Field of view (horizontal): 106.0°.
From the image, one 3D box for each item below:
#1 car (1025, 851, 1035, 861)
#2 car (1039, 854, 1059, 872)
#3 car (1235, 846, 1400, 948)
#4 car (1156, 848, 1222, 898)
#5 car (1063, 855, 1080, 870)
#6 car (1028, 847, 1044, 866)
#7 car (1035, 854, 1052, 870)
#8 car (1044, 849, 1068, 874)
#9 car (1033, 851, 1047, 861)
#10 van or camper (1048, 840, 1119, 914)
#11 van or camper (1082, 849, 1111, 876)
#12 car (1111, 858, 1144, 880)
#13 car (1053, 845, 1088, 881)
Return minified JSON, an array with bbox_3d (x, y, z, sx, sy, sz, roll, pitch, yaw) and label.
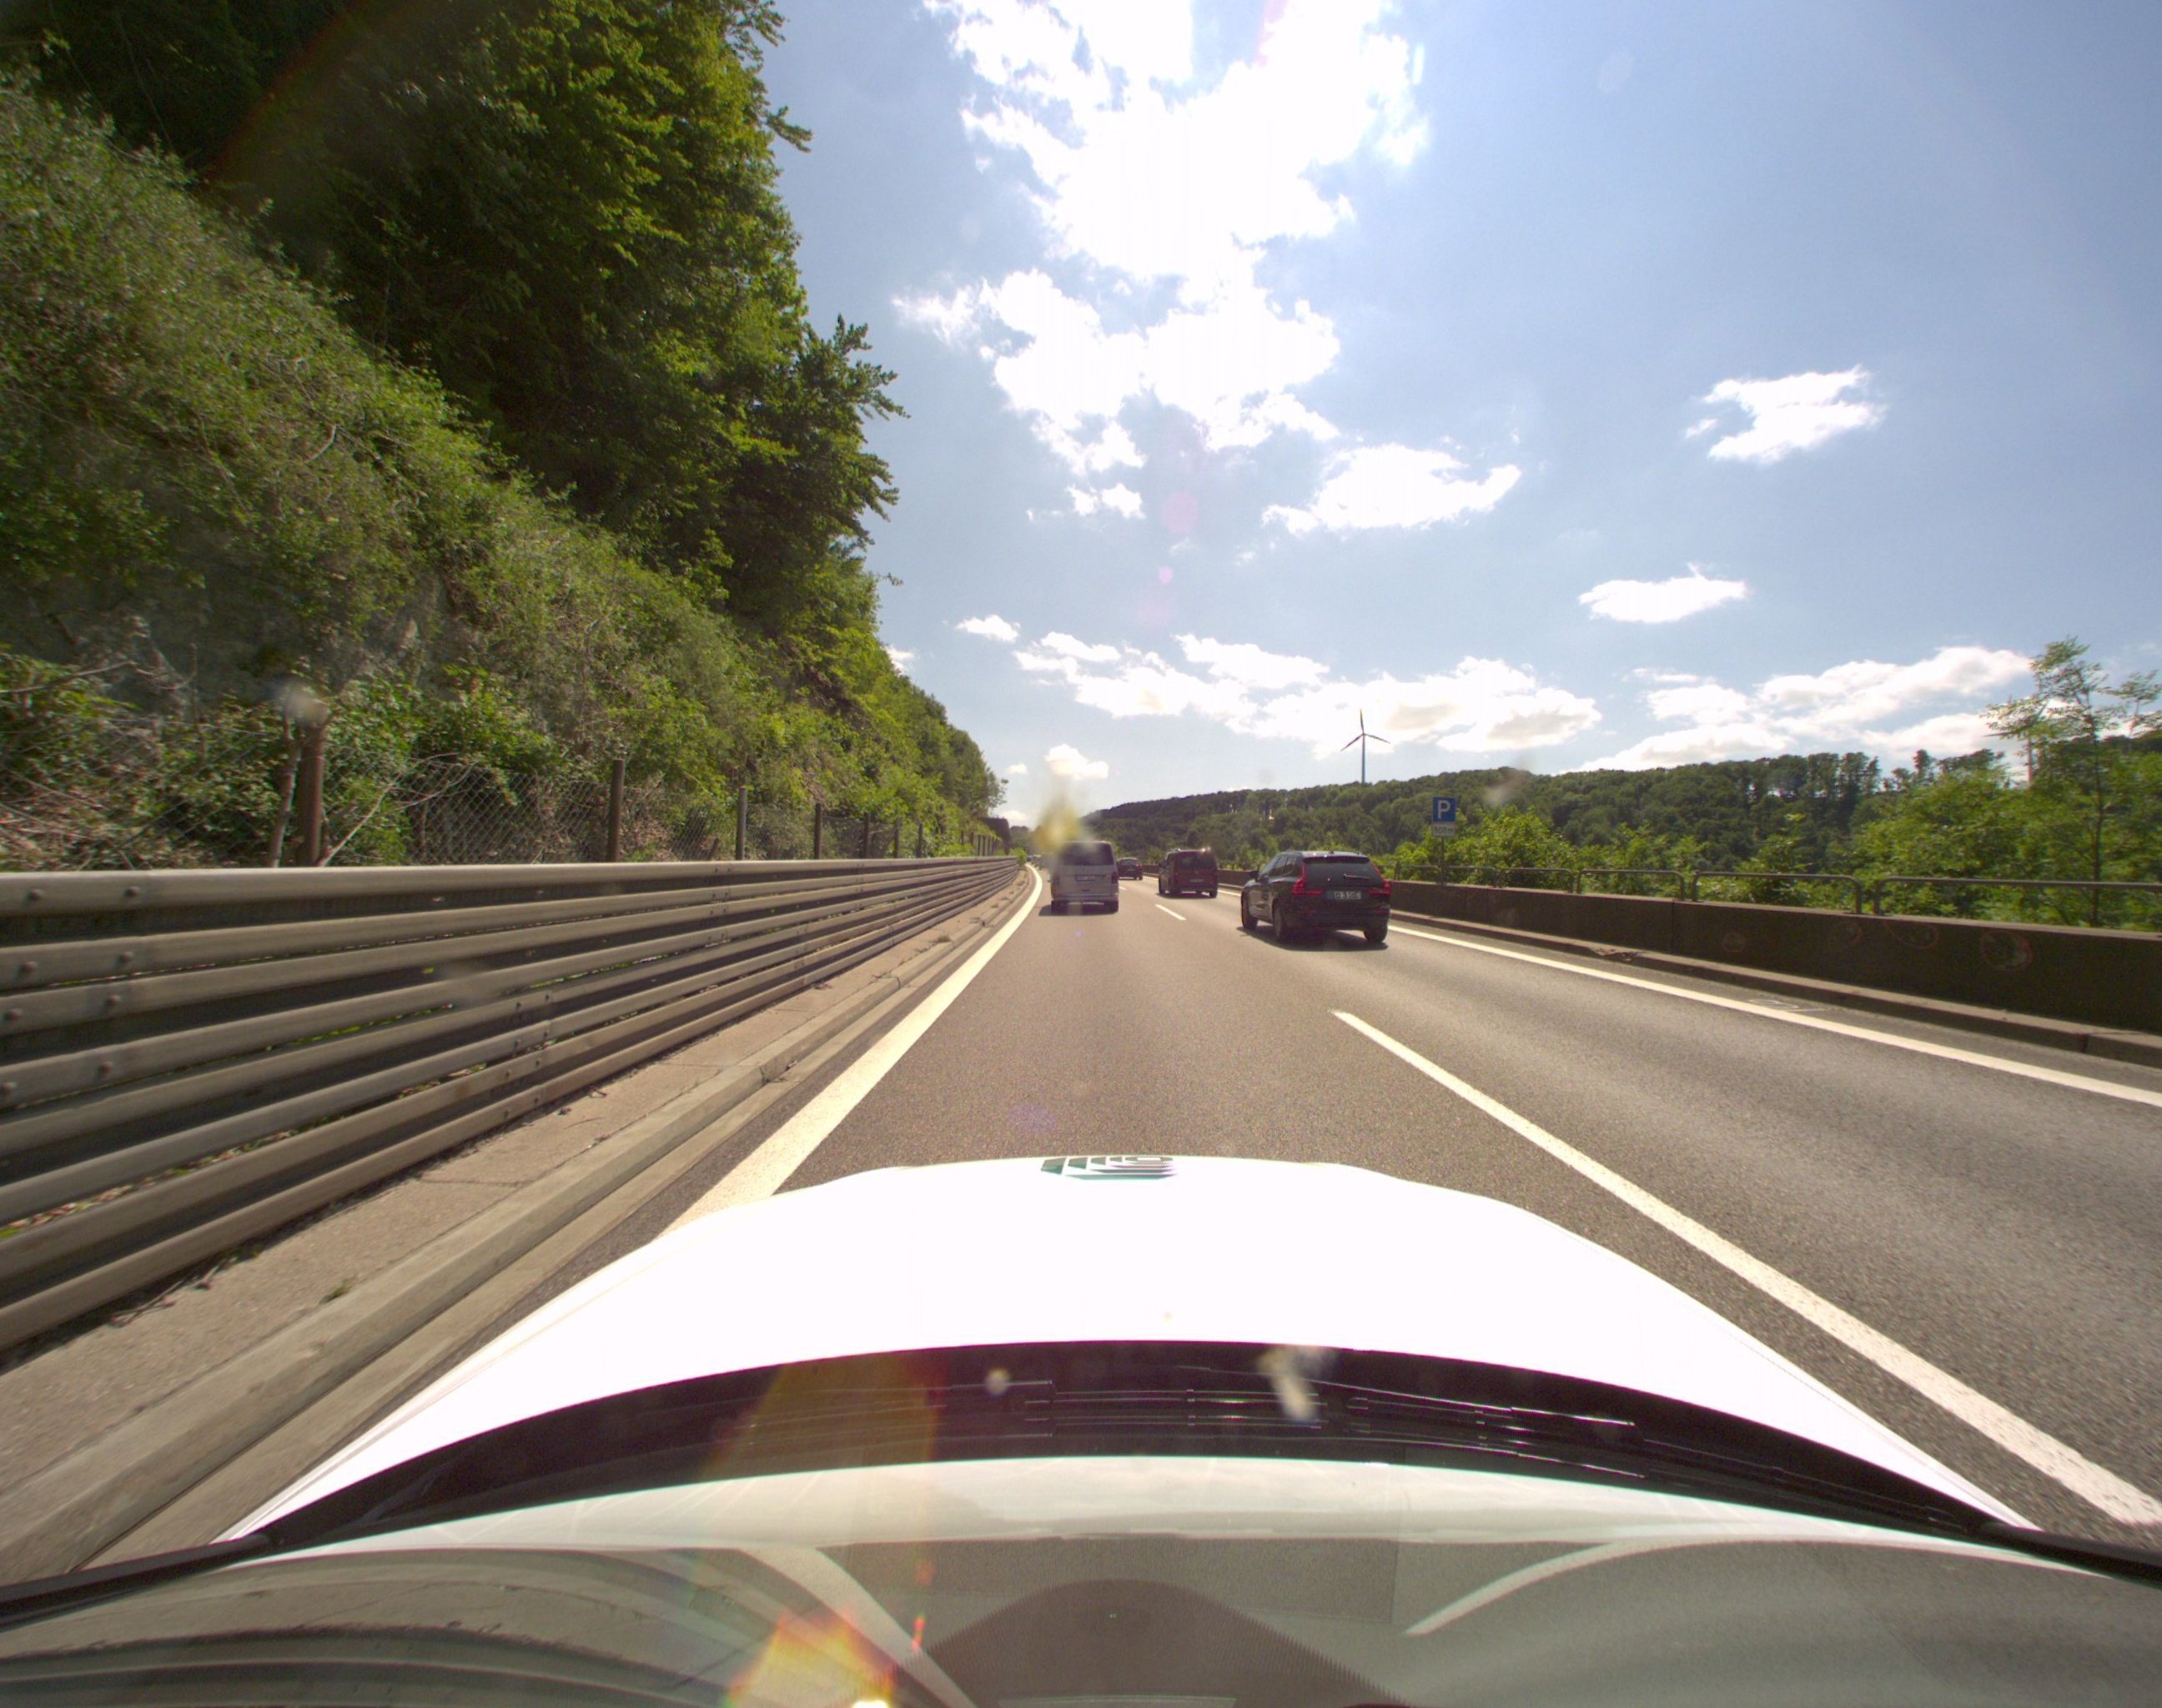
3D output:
[{"bbox_3d":[-10.033,0.417,160.267,1.989,2.014,3.994,-1,-1,-4],"label":"car"},{"bbox_3d":[-3.426,0.915,86.349,1.990,1.818,3.993,-1,0,-5],"label":"car"},{"bbox_3d":[4.294,0.729,15.615,1.828,1.633,4.662,-1,-1,0],"label":"car"},{"bbox_3d":[4.187,0.729,32.216,1.829,1.784,4.672,-1,-1,-2],"label":"car"},{"bbox_3d":[-1.357,1.184,113.538,1.991,2.014,3.990,-1,0,-7],"label":"car"},{"bbox_3d":[-11.824,0.591,211.738,4.035,4.871,10.095,-1,0,-4],"label":"car"},{"bbox_3d":[-4.706,0.954,101.945,1.990,1.915,3.994,1,0,-4],"label":"car"},{"bbox_3d":[-2.125,0.652,69.922,1.988,2.014,3.997,-1,-1,-1],"label":"car"},{"bbox_3d":[-6.792,0.394,133.337,2.139,1.607,5.069,0,0,-5],"label":"car"},{"bbox_3d":[0.038,0.624,23.811,1.870,1.949,4.292,-1,0,-1],"label":"van or camper"},{"bbox_3d":[1.450,0.784,80.102,2.261,2.551,4.726,-1,0,-6],"label":"van or camper"},{"bbox_3d":[3.054,0.961,54.329,1.765,1.376,3.588,-1,0,-4],"label":"car"},{"bbox_3d":[-0.603,0.534,48.605,1.988,2.014,3.998,-1,-1,-1],"label":"car"}]
